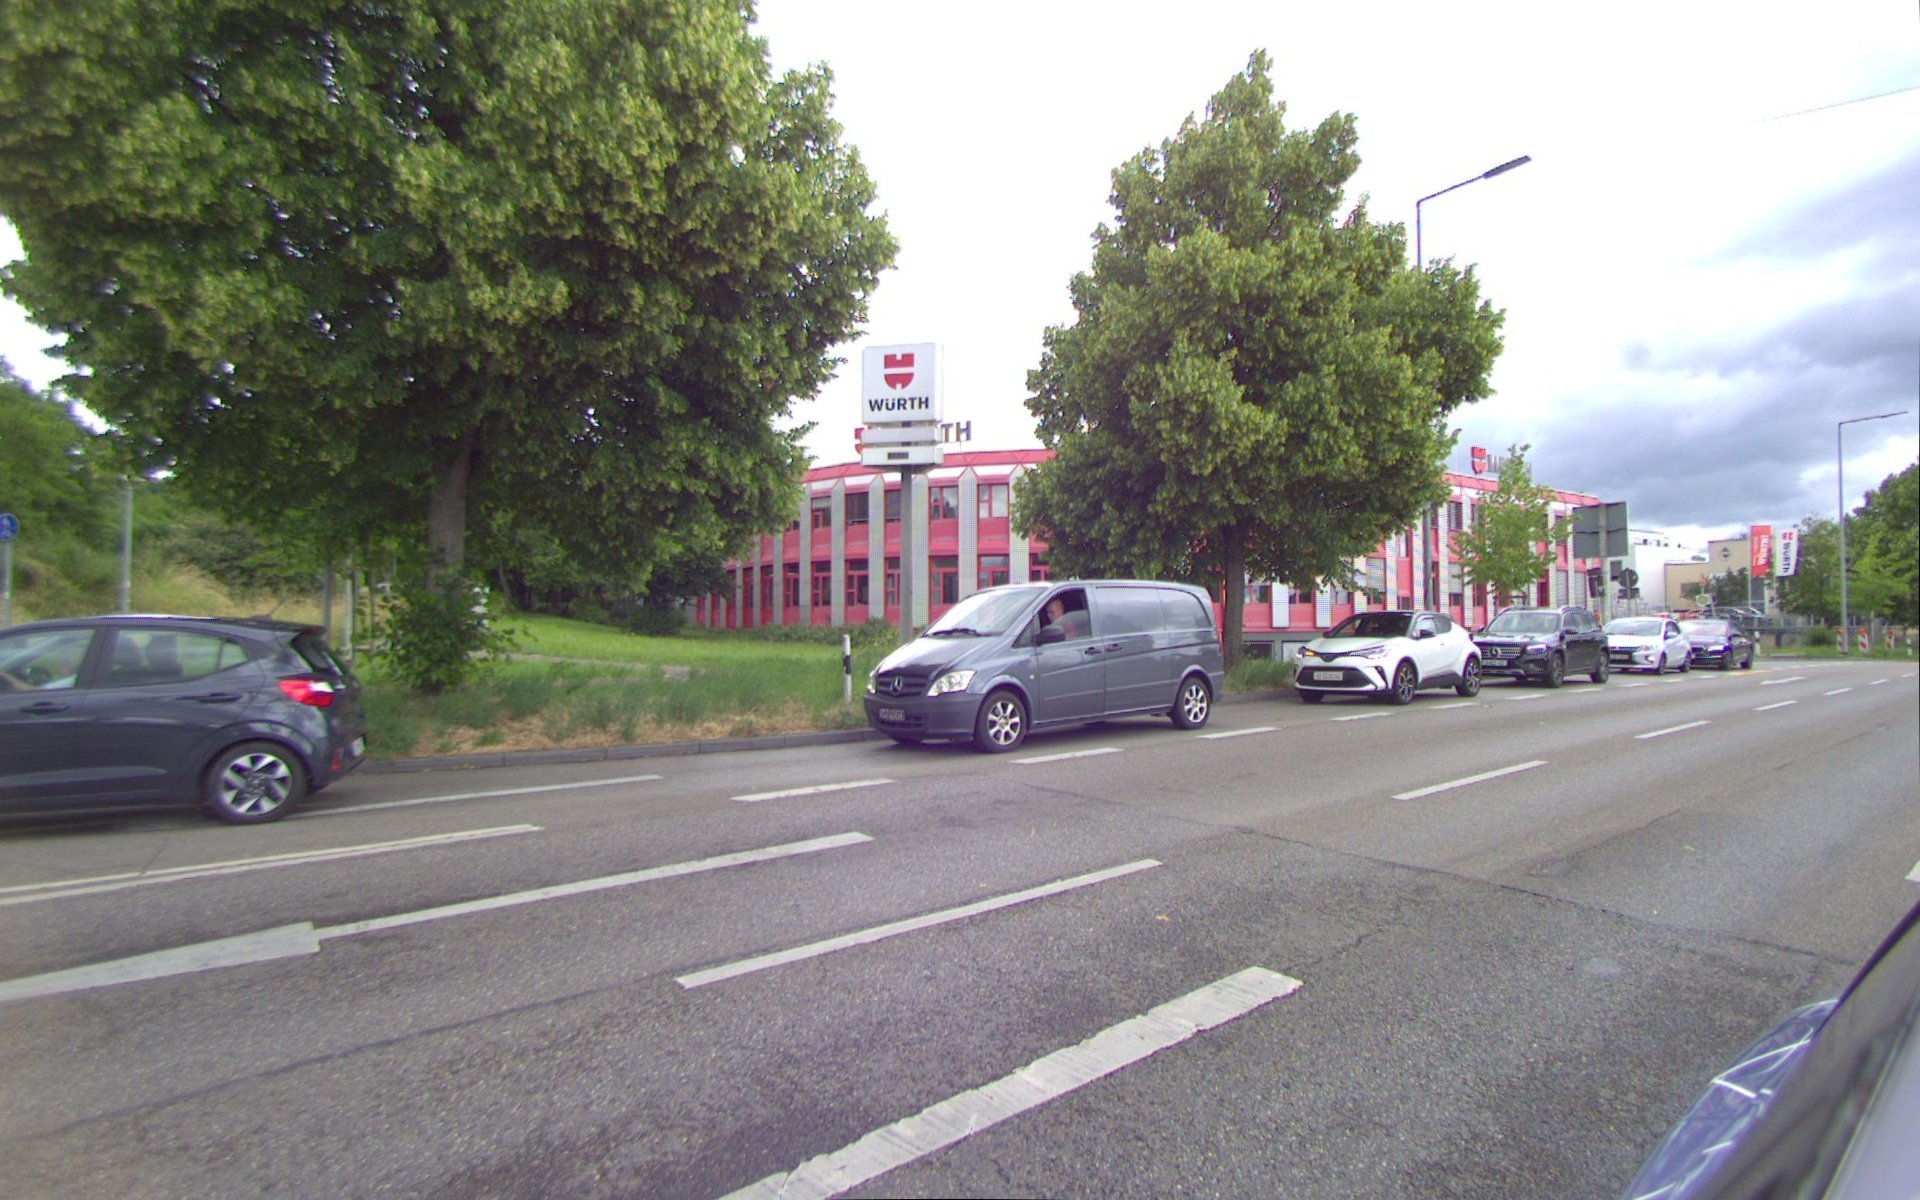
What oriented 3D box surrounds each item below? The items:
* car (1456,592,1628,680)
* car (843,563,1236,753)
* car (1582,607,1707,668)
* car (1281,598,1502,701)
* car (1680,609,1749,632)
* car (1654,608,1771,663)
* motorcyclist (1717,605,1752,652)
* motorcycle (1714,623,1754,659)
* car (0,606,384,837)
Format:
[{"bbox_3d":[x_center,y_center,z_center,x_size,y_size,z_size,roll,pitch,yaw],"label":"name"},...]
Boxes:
[{"bbox_3d":[12.473,0.756,21.571,4.346,1.671,1.784,3,-1,-40],"label":"car"},{"bbox_3d":[1.085,0.616,12.135,4.636,1.858,1.919,0,-3,-39],"label":"car"},{"bbox_3d":[18.181,0.993,26.819,3.766,1.461,1.784,3,-1,-40],"label":"car"},{"bbox_3d":[7.473,0.794,17.353,4.230,1.555,1.783,0,-3,-41],"label":"car"},{"bbox_3d":[61.802,1.684,82.963,1.752,1.776,4.247,0,0,-39],"label":"car"},{"bbox_3d":[22.209,1.056,29.818,4.446,1.464,1.784,3,-1,-40],"label":"car"},{"bbox_3d":[25.204,0.933,32.939,0.918,1.510,0.748,2,-3,-44],"label":"motorcyclist"},{"bbox_3d":[25.157,1.324,32.872,1.911,1.162,0.748,2,-3,-45],"label":"motorcycle"},{"bbox_3d":[-6.303,0.823,7.312,3.539,1.449,1.627,-1,-3,-23],"label":"car"}]
